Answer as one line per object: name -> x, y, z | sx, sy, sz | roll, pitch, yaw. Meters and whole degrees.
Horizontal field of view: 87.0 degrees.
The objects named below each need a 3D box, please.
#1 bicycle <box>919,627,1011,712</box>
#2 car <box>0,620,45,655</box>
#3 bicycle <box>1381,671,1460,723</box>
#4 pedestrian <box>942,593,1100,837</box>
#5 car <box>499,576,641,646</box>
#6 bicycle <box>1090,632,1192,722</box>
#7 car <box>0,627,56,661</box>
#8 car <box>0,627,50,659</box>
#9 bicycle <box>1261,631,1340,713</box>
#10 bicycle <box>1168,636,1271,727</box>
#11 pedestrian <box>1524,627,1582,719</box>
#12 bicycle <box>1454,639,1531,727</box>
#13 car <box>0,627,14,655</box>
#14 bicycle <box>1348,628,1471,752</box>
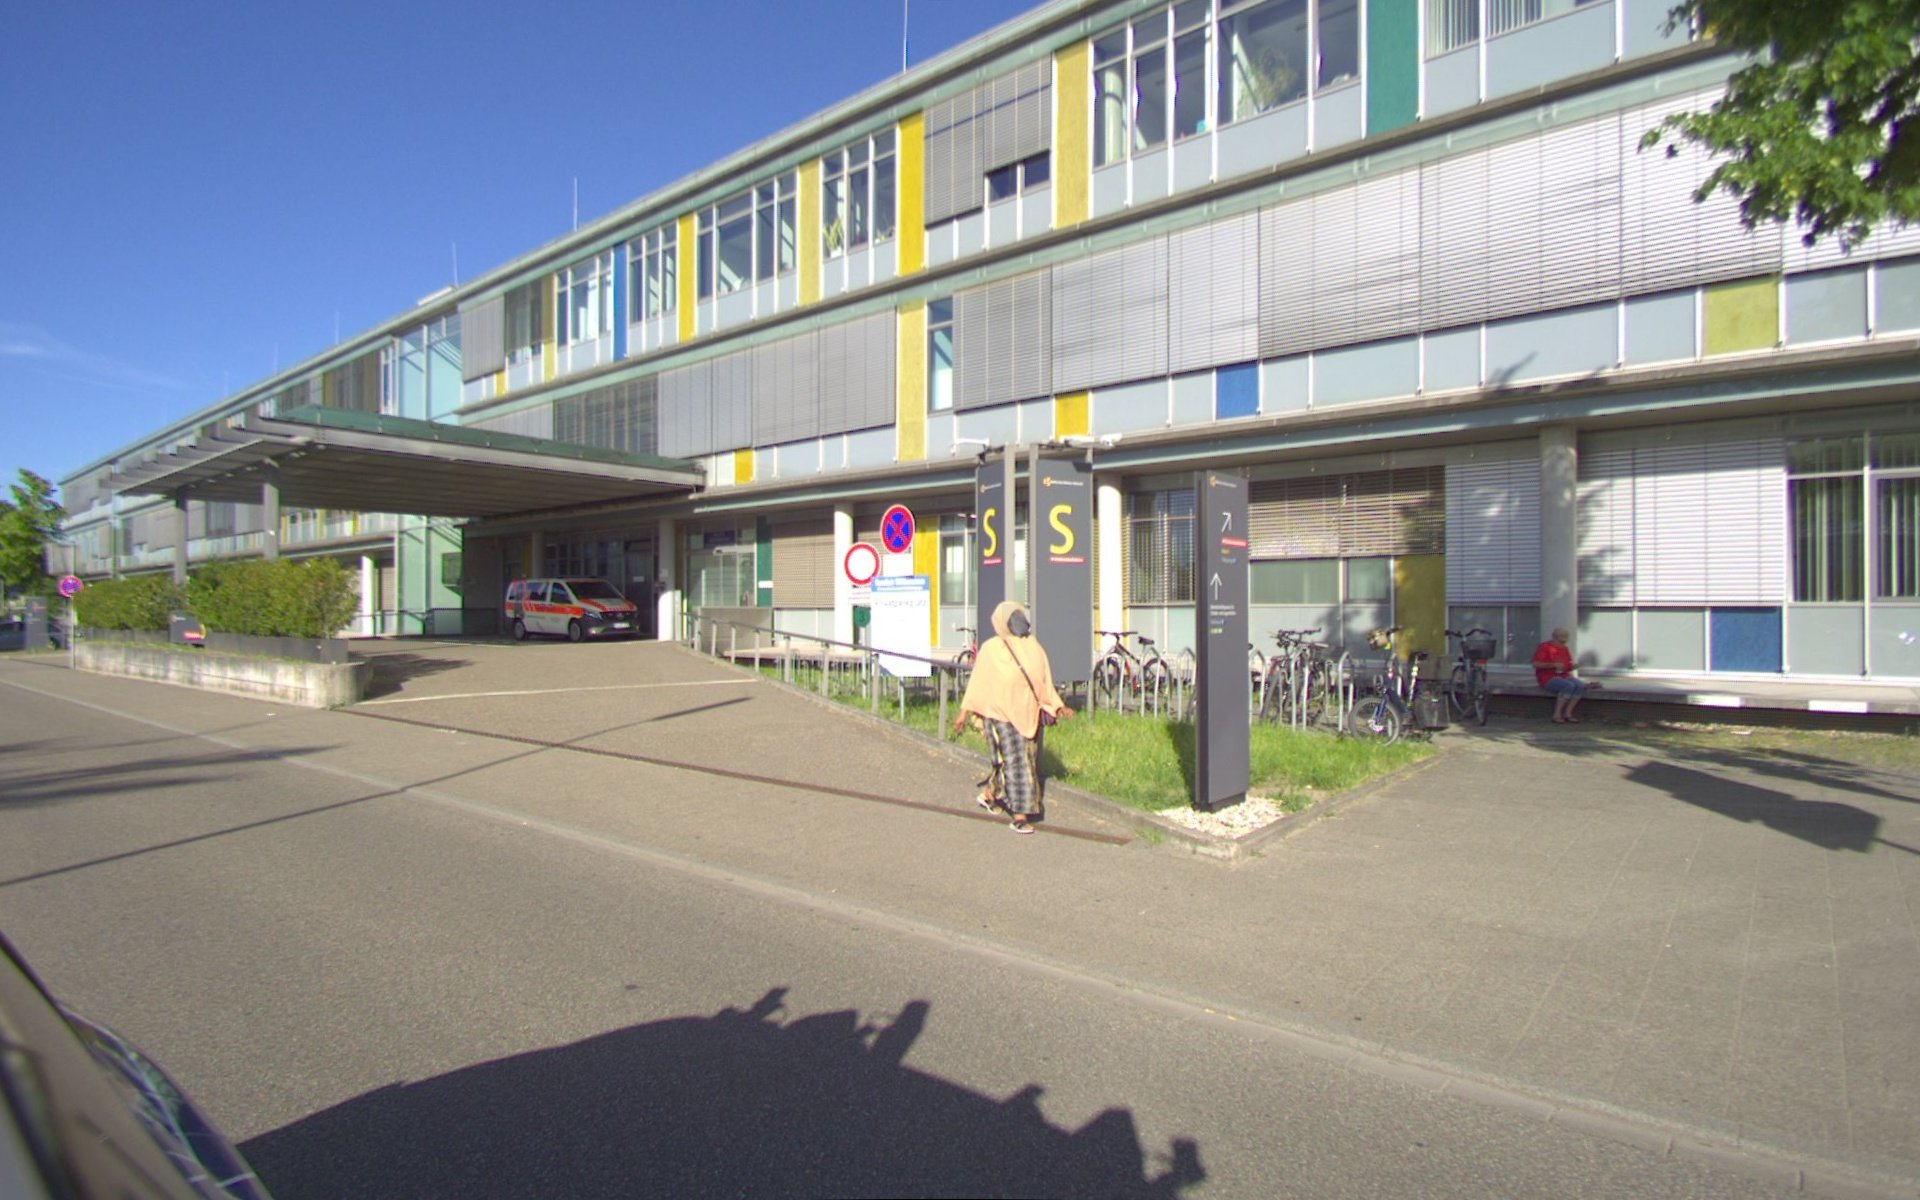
bicycle -> 0.100, 0.965, 14.544 | 0.534, 1.132, 1.702 | -1, -2, 31
car -> -47.453, 1.848, 49.150 | 1.957, 1.664, 4.181 | -1, -1, 38
bicycle -> 6.088, 1.260, 13.339 | 0.536, 0.555, 1.698 | -1, -2, 39
pedestrian -> 0.431, 0.741, 7.065 | 0.779, 1.560, 0.765 | -1, 1, 41
car -> -11.602, 0.362, 29.984 | 4.707, 1.905, 1.900 | -1, -2, 40
bicycle -> 2.332, 0.945, 12.920 | 0.535, 1.063, 1.698 | -1, -2, 38
car -> -43.673, 1.989, 45.639 | 1.752, 1.478, 4.090 | -1, -1, 39
car -> -45.517, 2.030, 47.507 | 1.728, 1.448, 3.949 | -1, -1, 38
bicycle -> 5.083, 1.034, 15.052 | 0.536, 1.132, 1.698 | -1, -2, 39
bicycle -> 3.113, 0.931, 12.050 | 0.535, 0.981, 1.698 | -1, -2, 38
pedestrian -> 7.892, 0.958, 13.466 | 0.555, 1.182, 0.526 | -1, -1, 41
bicycle -> 6.764, 1.015, 12.822 | 0.536, 1.001, 1.698 | -1, -2, 39
car -> -54.951, 2.357, 55.750 | 1.821, 1.499, 3.943 | 0, 1, 38
bicycle -> 4.518, 0.852, 10.118 | 1.683, 1.130, 0.536 | 1, -2, -45
